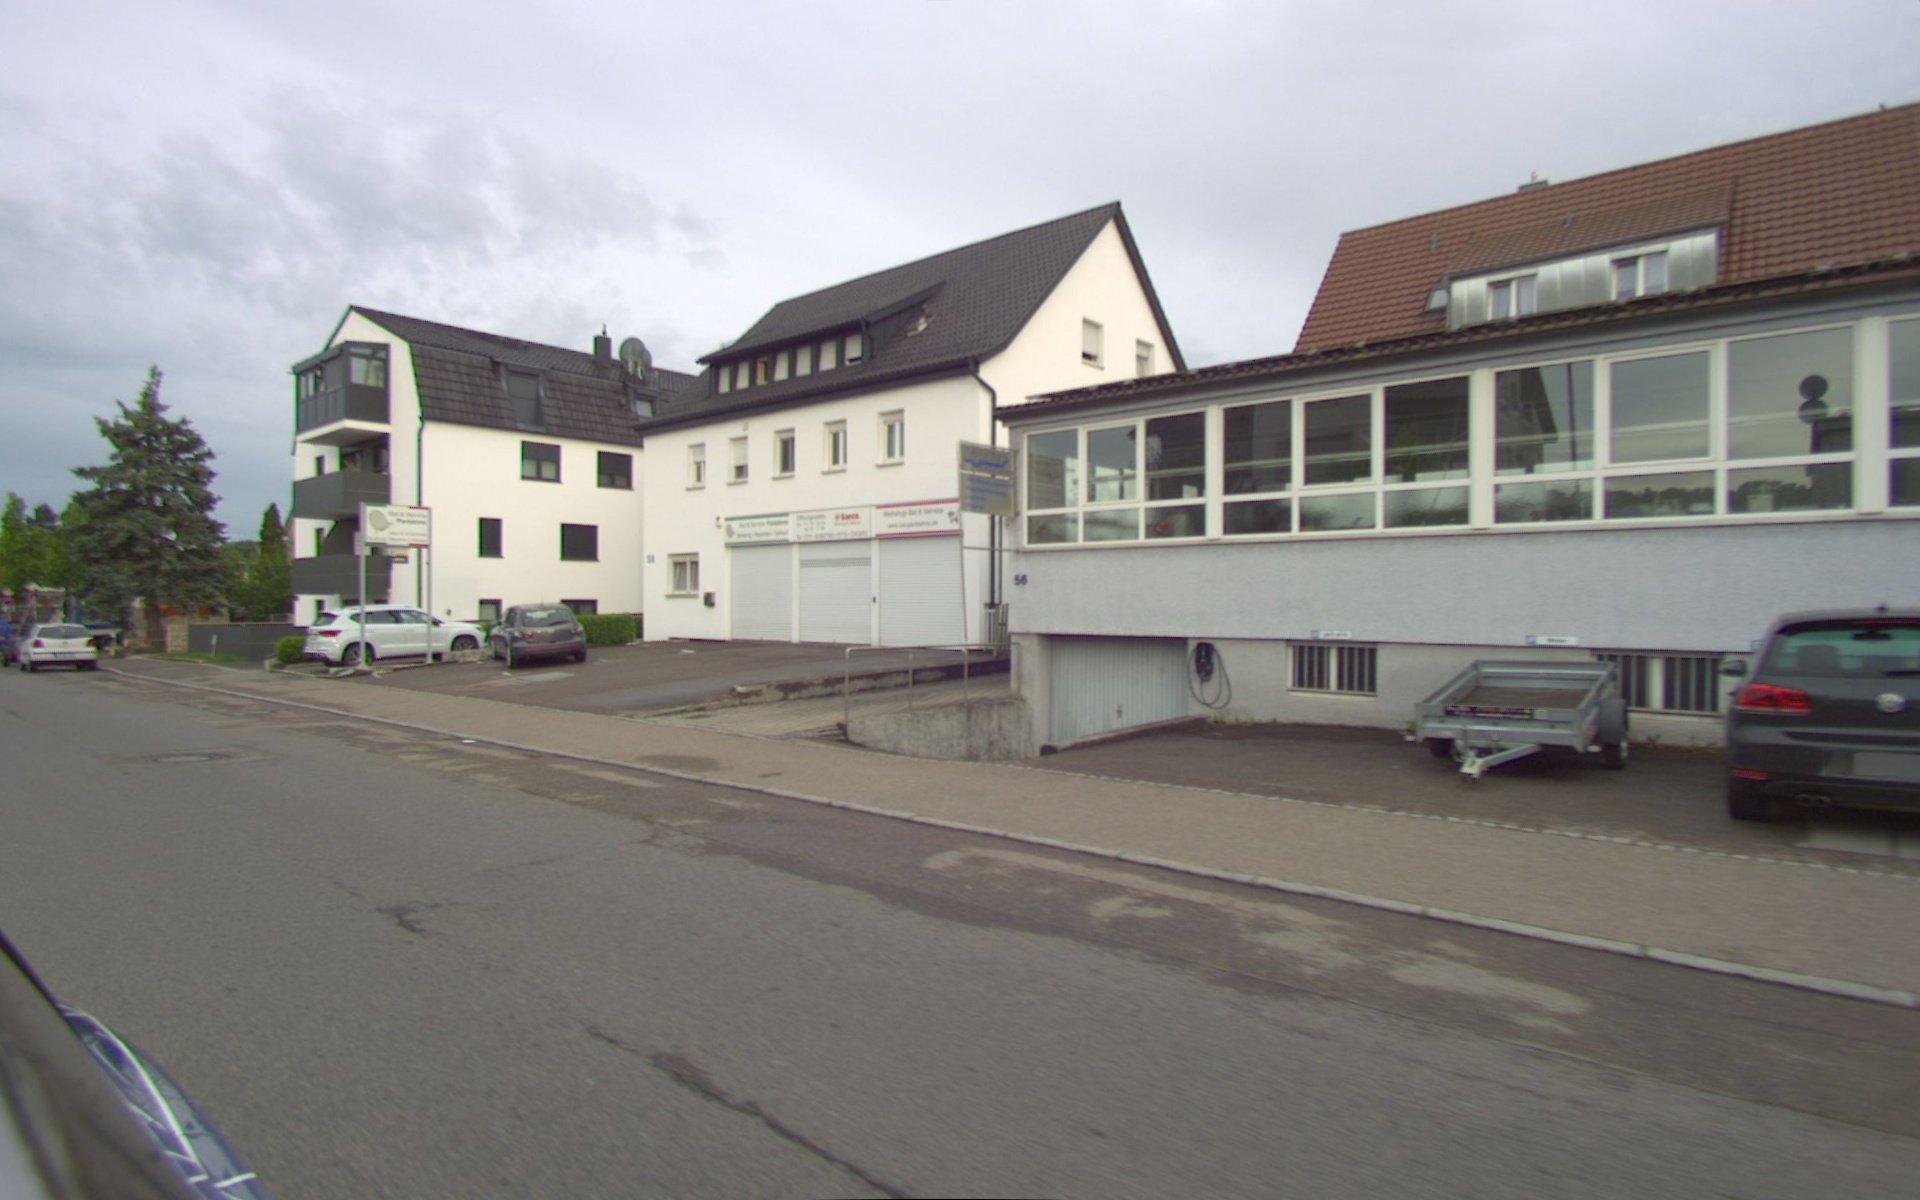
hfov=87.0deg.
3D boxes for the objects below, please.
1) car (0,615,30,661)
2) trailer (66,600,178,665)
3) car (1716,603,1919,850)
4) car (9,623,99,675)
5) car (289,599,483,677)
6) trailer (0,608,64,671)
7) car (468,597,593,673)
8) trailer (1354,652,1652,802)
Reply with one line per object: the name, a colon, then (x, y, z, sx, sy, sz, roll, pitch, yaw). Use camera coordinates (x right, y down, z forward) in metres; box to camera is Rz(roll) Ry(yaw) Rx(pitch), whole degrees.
car: (-46.540, 1.821, 48.890, 4.754, 2.140, 1.972, -2, -2, 43)
trailer: (-41.766, 1.545, 50.476, 2.167, 3.069, 4.007, -1, 0, 41)
car: (6.833, 0.768, 7.458, 1.766, 1.449, 3.834, -2, -2, 40)
car: (-28.721, 1.518, 32.037, 3.870, 1.516, 1.717, -2, -2, 42)
car: (-15.116, 0.952, 26.813, 1.998, 1.659, 3.948, -2, 2, 39)
trailer: (-33.696, 1.378, 36.445, 4.006, 2.142, 1.699, -1, 0, 42)
car: (-10.598, 0.779, 24.811, 1.796, 1.541, 4.009, -6, 4, -37)
trailer: (5.399, 1.066, 9.776, 1.792, 0.950, 4.155, -1, -1, 39)
